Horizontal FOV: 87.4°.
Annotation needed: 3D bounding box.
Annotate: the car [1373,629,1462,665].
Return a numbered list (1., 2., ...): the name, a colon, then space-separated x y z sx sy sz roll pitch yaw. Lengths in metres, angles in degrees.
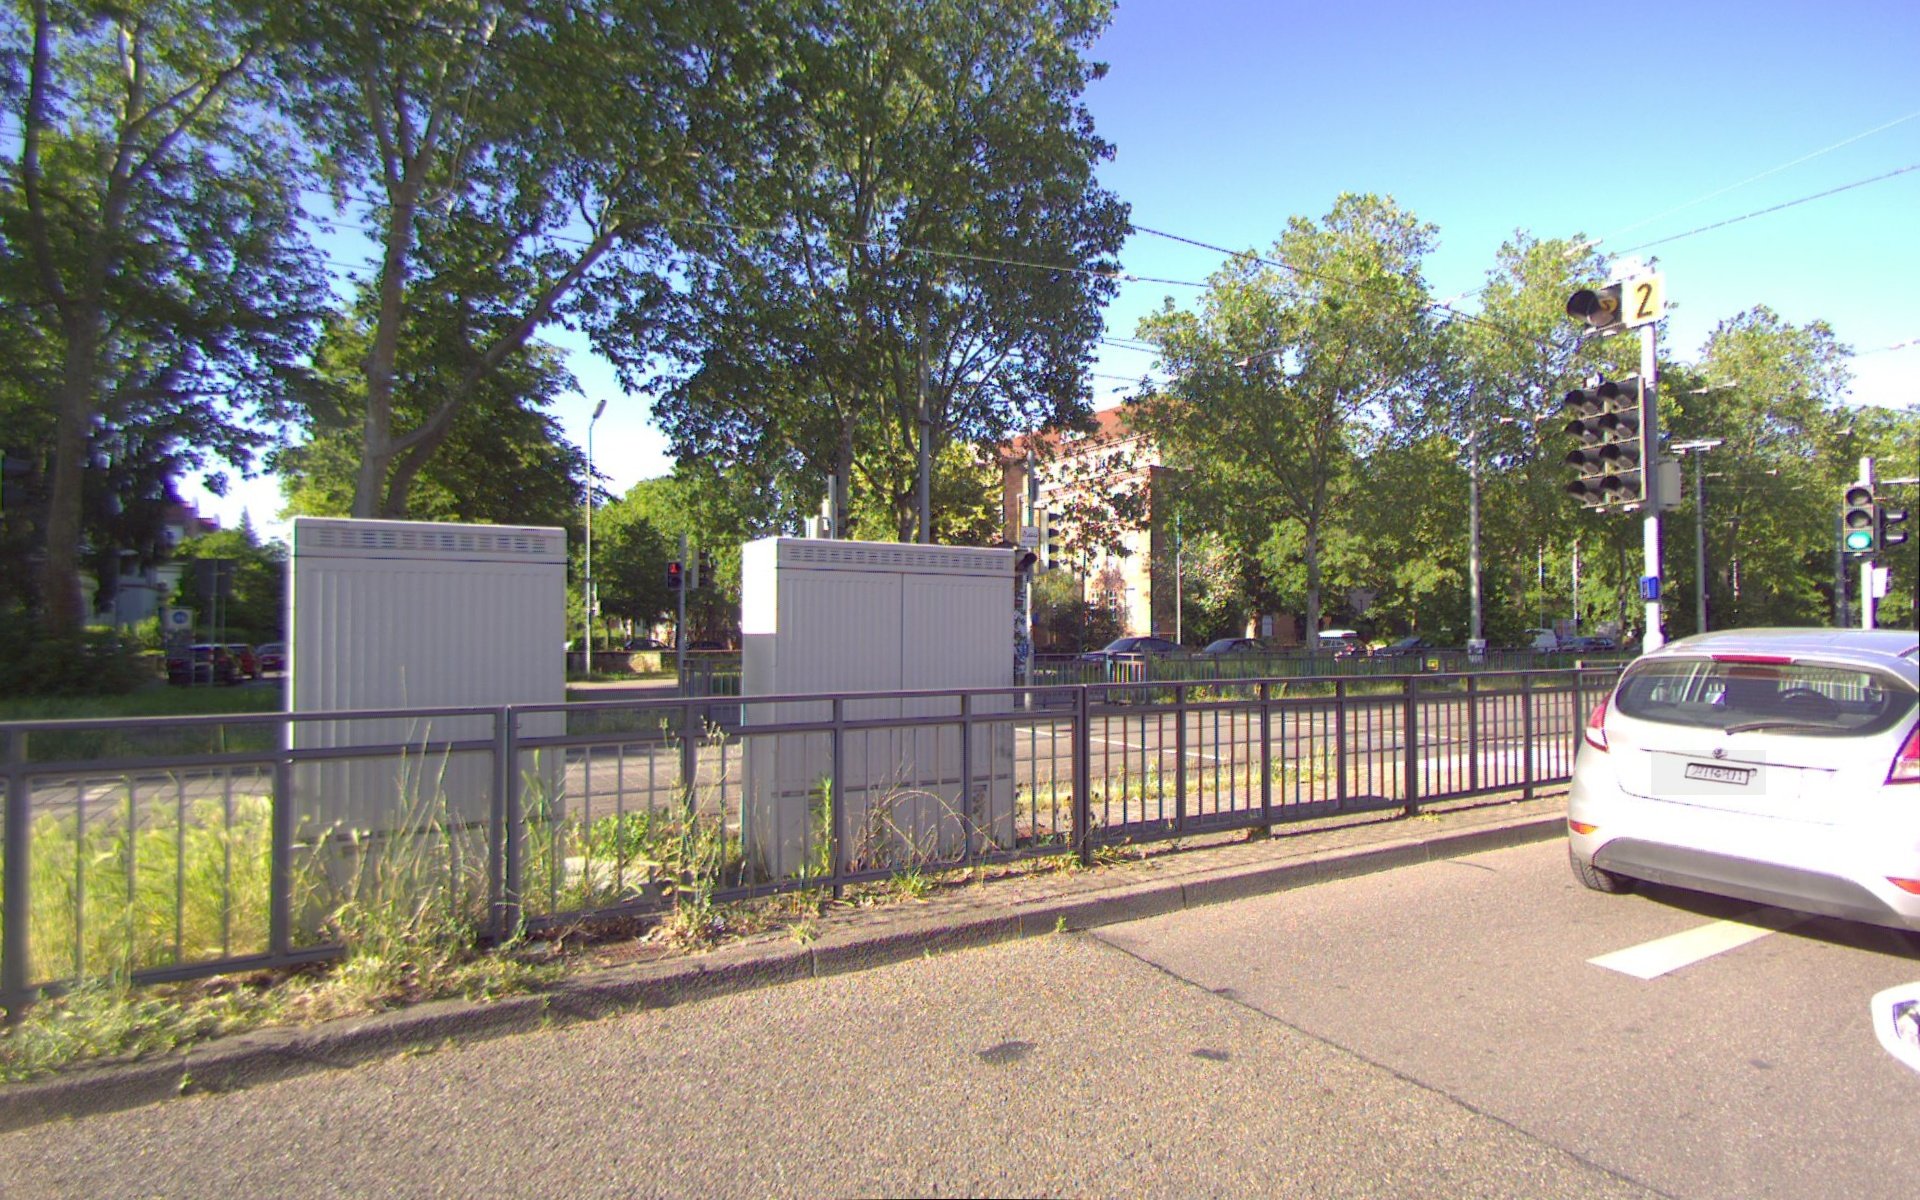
1. car: 20.429 2.061 44.828 4.098 1.529 1.660 1 -1 -32

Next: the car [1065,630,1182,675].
1. car: 5.882 1.844 36.025 4.098 1.529 1.660 1 -1 -32

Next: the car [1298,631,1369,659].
1. car: 21.414 2.570 57.761 1.375 1.514 3.974 1 -2 -26

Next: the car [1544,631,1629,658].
1. car: 32.995 2.341 52.863 4.795 1.366 1.926 2 -2 -32

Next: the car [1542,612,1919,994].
1. car: 4.975 0.830 5.530 3.850 1.487 1.599 1 -1 -35

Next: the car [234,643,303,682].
1. car: -28.956 2.574 42.169 1.976 1.437 3.969 1 -1 -29

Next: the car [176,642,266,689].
1. car: -25.399 2.192 34.643 1.976 1.437 3.969 1 -1 -29

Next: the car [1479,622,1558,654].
1. car: 27.717 1.859 49.789 4.098 1.529 1.660 1 -1 -32

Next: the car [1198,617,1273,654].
1. car: 15.660 2.013 57.078 3.953 2.040 1.984 1 -1 -30

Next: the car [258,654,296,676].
1. car: -39.064 3.718 57.522 1.513 1.134 3.102 1 -1 -29
